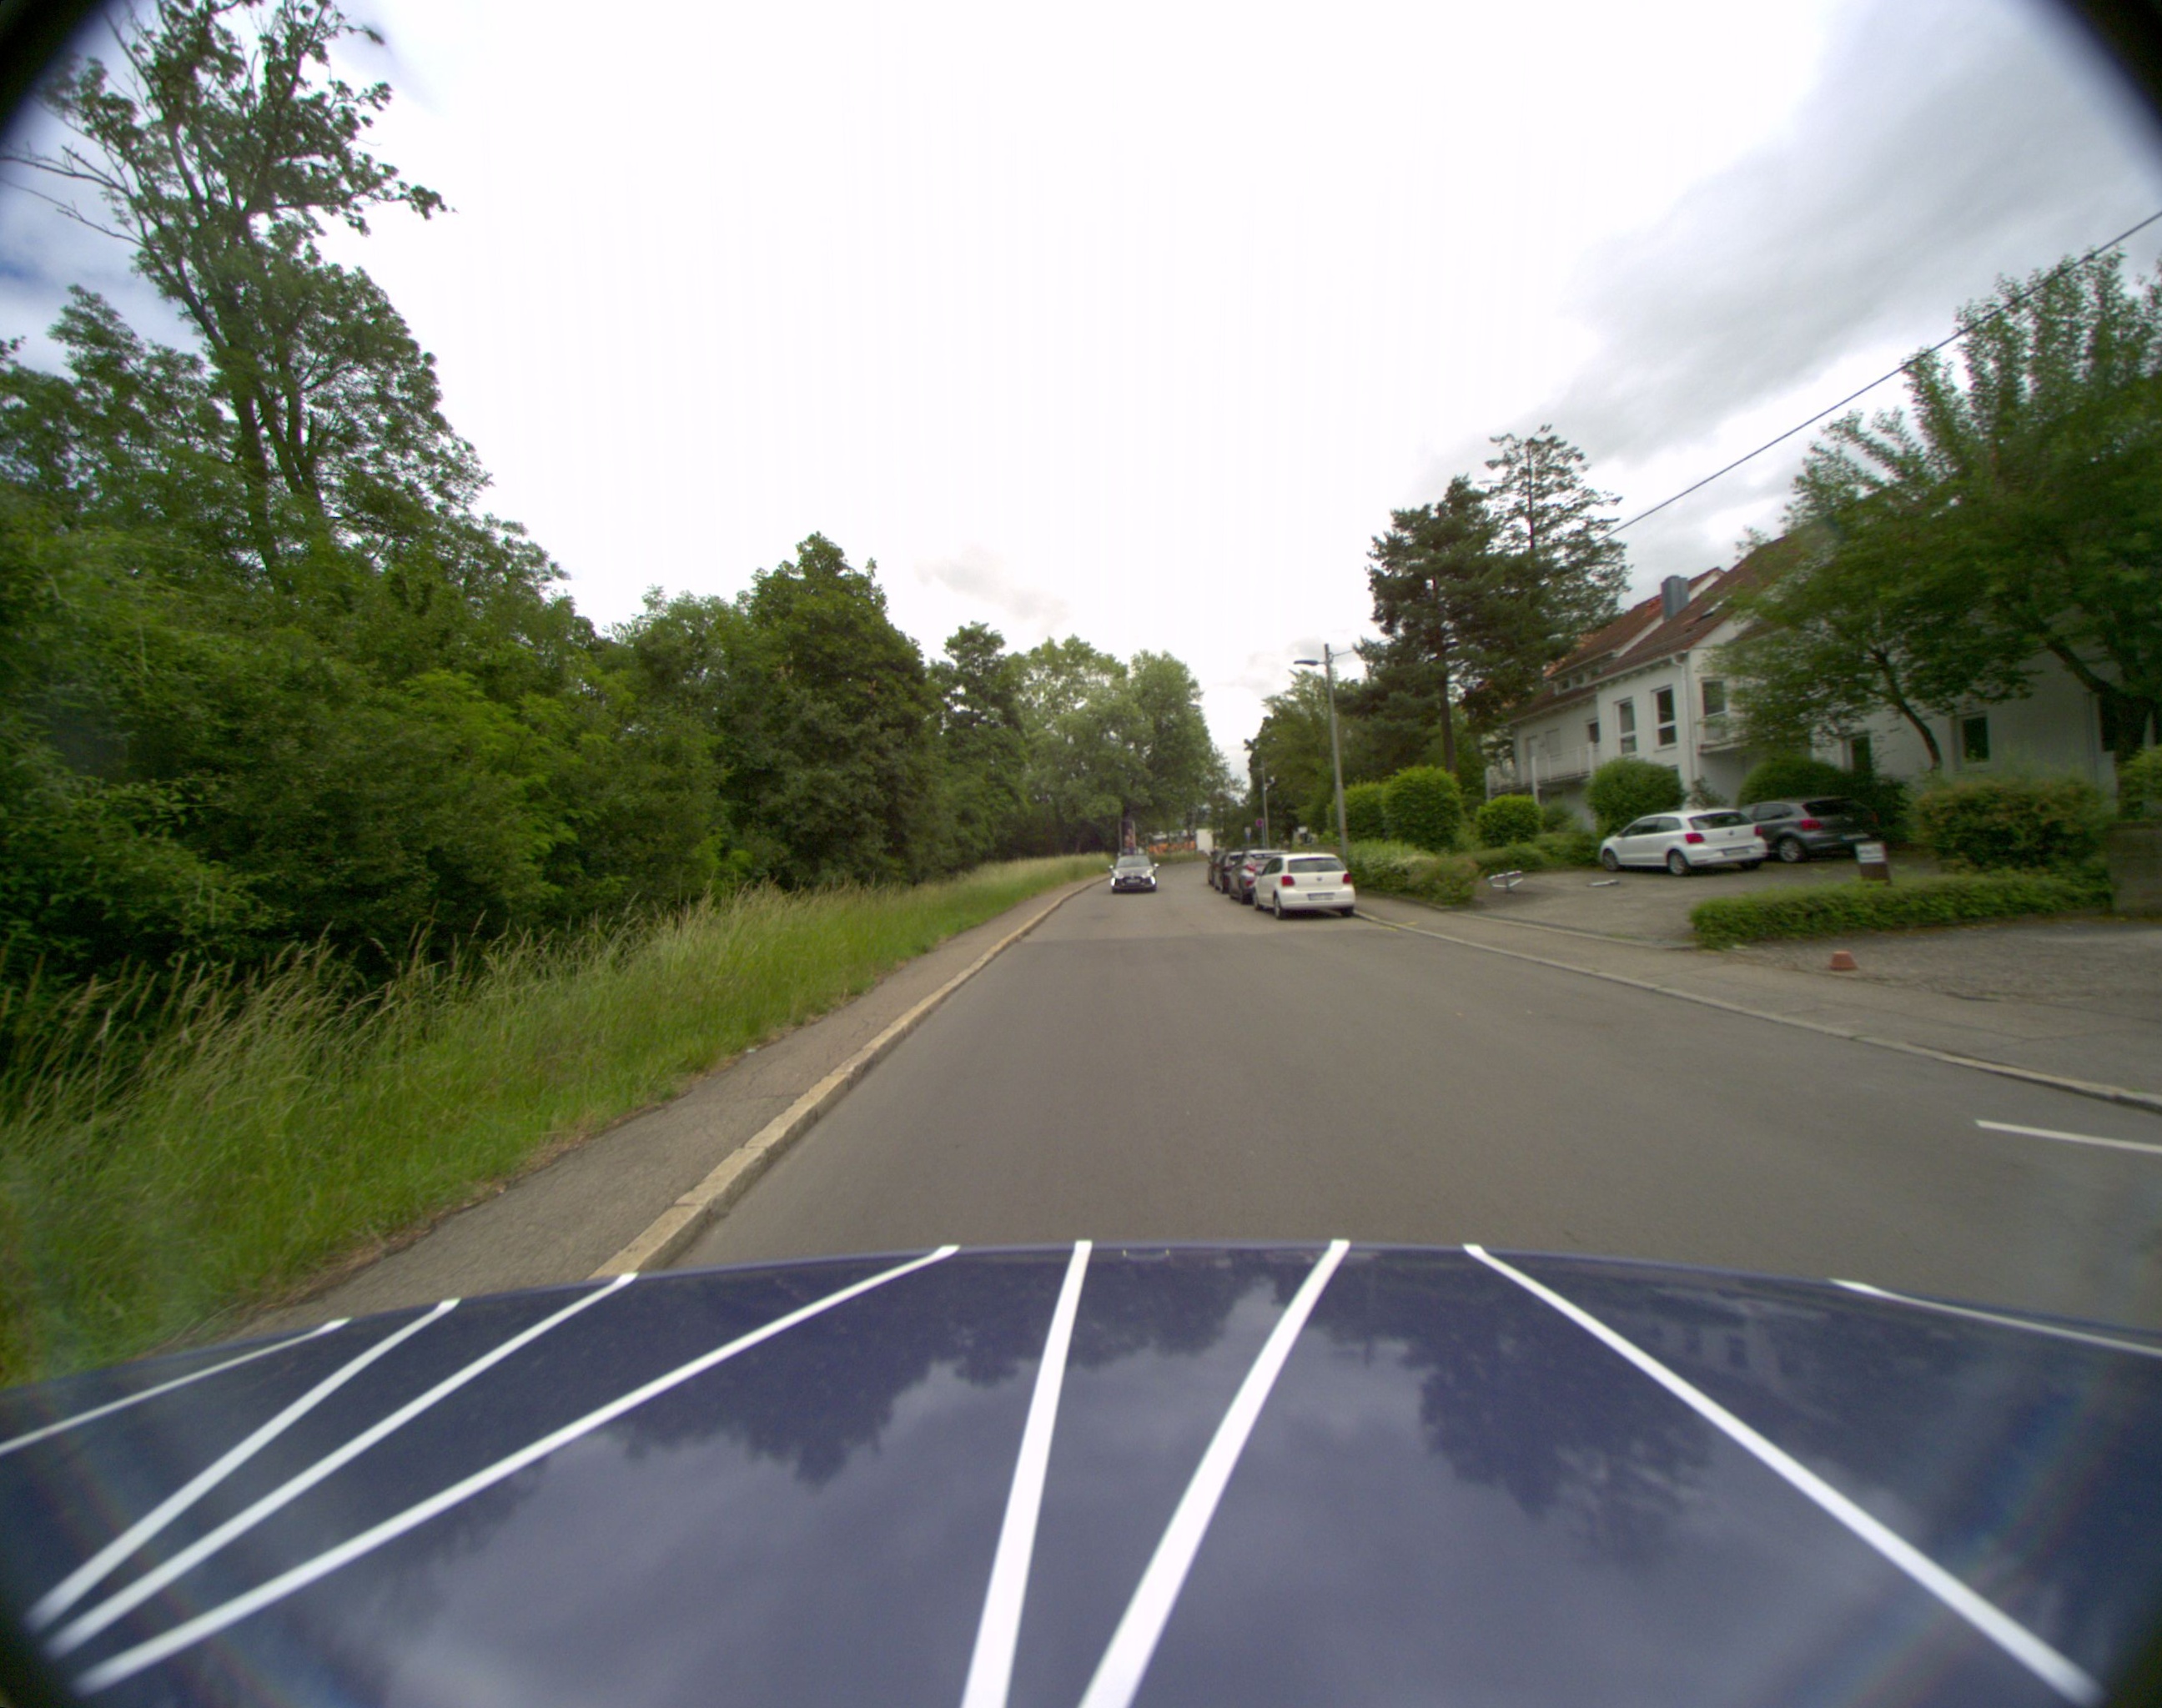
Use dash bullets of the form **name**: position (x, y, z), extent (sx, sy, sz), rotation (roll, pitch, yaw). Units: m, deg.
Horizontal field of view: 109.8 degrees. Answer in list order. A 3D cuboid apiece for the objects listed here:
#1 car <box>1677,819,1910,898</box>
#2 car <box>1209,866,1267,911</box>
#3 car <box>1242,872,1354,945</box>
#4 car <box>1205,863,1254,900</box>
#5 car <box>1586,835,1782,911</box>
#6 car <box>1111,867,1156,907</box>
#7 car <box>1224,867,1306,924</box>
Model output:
- **car**: position (16.770, 0.111, 18.213), extent (1.826, 1.564, 4.001), rotation (-4, -1, 3)
- **car**: position (5.701, 1.211, 28.006), extent (1.653, 1.433, 4.334), rotation (-1, 0, 6)
- **car**: position (5.022, 1.212, 18.090), extent (1.627, 1.471, 3.929), rotation (-1, -1, 2)
- **car**: position (6.353, 1.135, 32.919), extent (1.738, 1.410, 4.506), rotation (0, 0, 7)
- **car**: position (14.222, 0.362, 18.234), extent (1.706, 1.449, 3.933), rotation (-5, 1, 4)
- **car**: position (2.124, 1.252, 30.205), extent (1.645, 1.390, 3.783), rotation (-2, 0, 5)
- **car**: position (5.346, 1.155, 22.525), extent (1.765, 1.471, 4.129), rotation (1, 0, 5)
